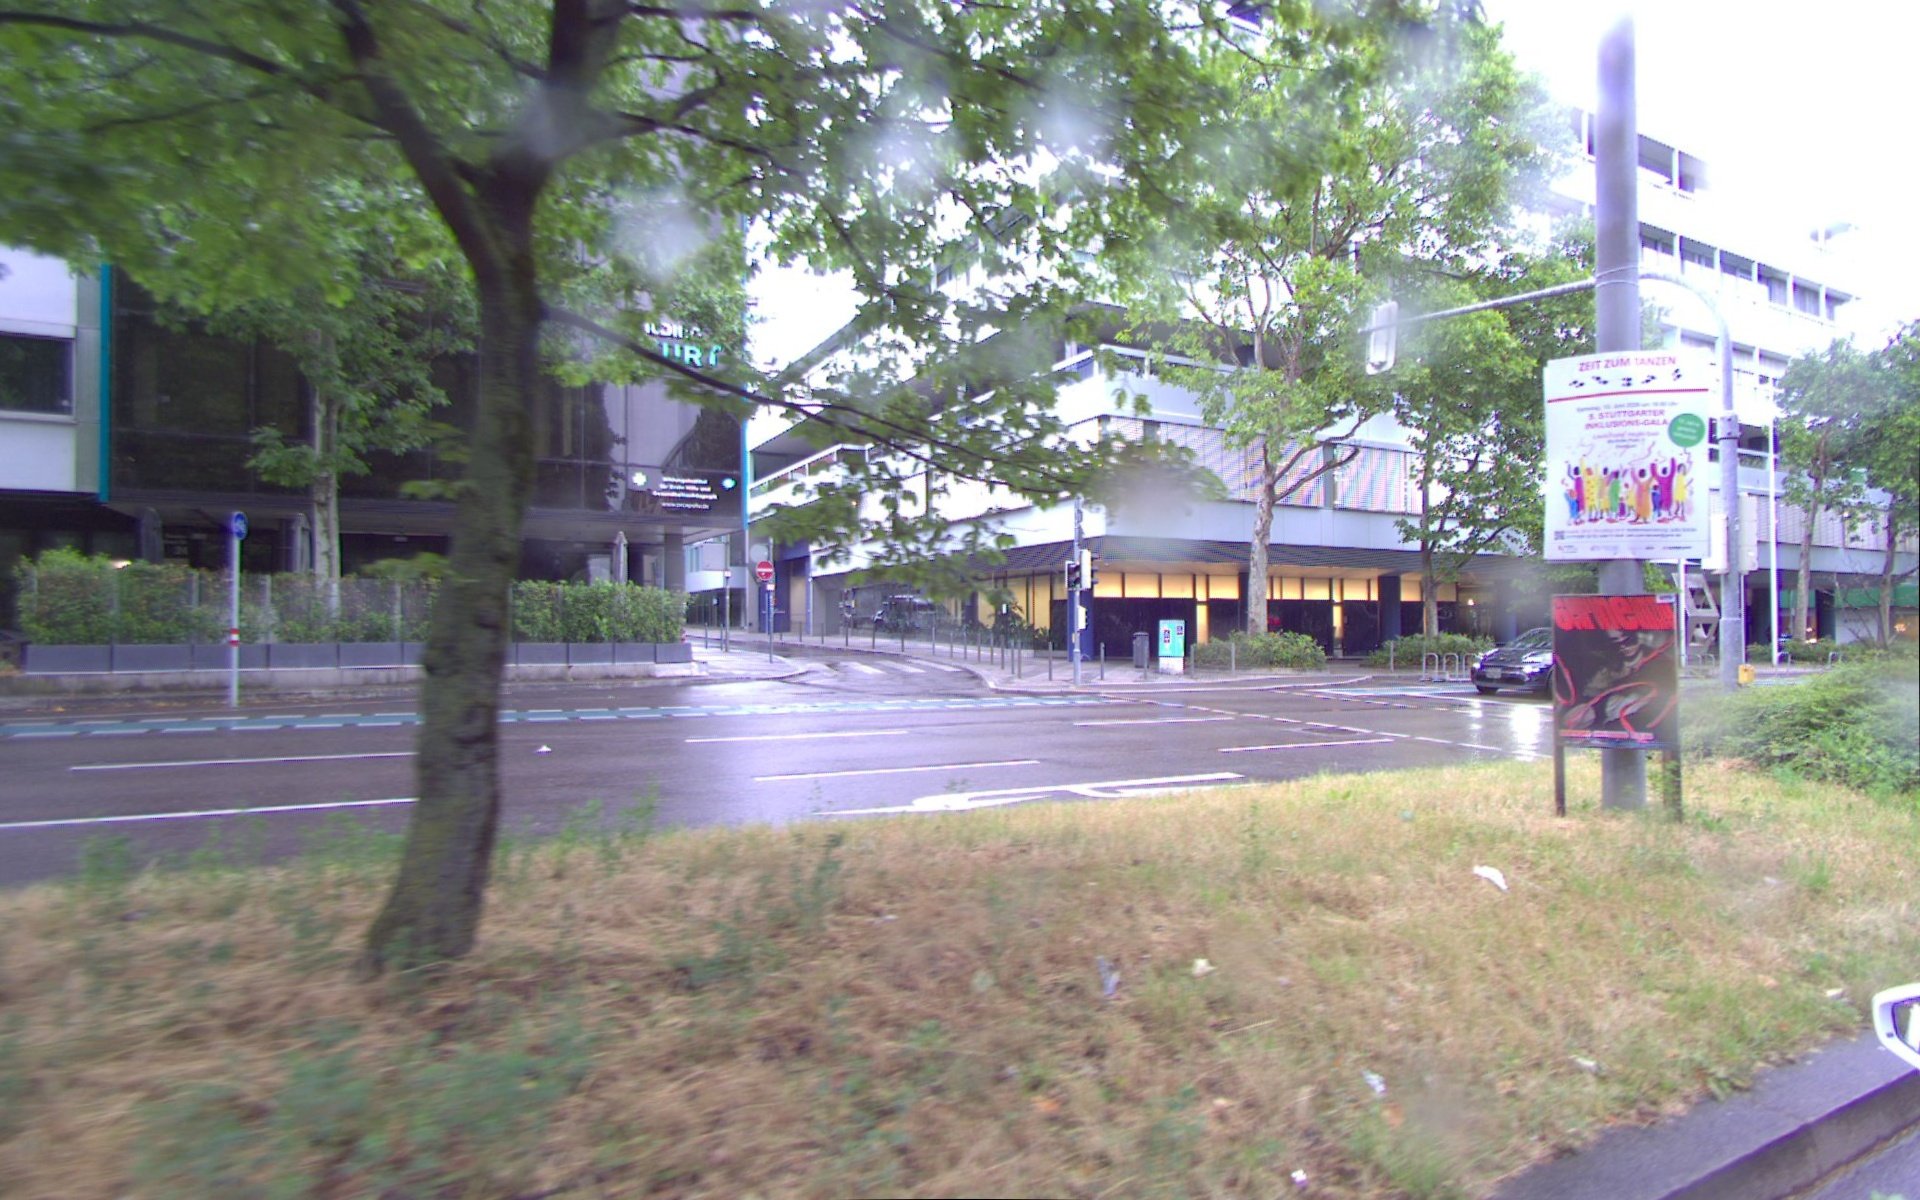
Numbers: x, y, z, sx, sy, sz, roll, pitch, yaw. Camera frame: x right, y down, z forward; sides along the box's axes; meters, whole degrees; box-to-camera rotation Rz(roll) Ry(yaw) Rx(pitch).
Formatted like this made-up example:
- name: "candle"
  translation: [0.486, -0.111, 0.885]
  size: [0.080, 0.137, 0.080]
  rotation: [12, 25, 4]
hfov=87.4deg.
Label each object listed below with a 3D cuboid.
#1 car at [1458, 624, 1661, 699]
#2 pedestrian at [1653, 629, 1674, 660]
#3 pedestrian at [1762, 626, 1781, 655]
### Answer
- name: "car"
  translation: [14.405, 1.463, 24.107]
  size: [4.683, 1.605, 1.903]
  rotation: [2, 0, -26]
- name: "pedestrian"
  translation: [32.868, 2.067, 46.931]
  size: [0.469, 1.398, 0.634]
  rotation: [2, 0, -32]
- name: "pedestrian"
  translation: [42.885, 2.124, 53.058]
  size: [0.568, 1.502, 0.606]
  rotation: [2, 0, -32]
